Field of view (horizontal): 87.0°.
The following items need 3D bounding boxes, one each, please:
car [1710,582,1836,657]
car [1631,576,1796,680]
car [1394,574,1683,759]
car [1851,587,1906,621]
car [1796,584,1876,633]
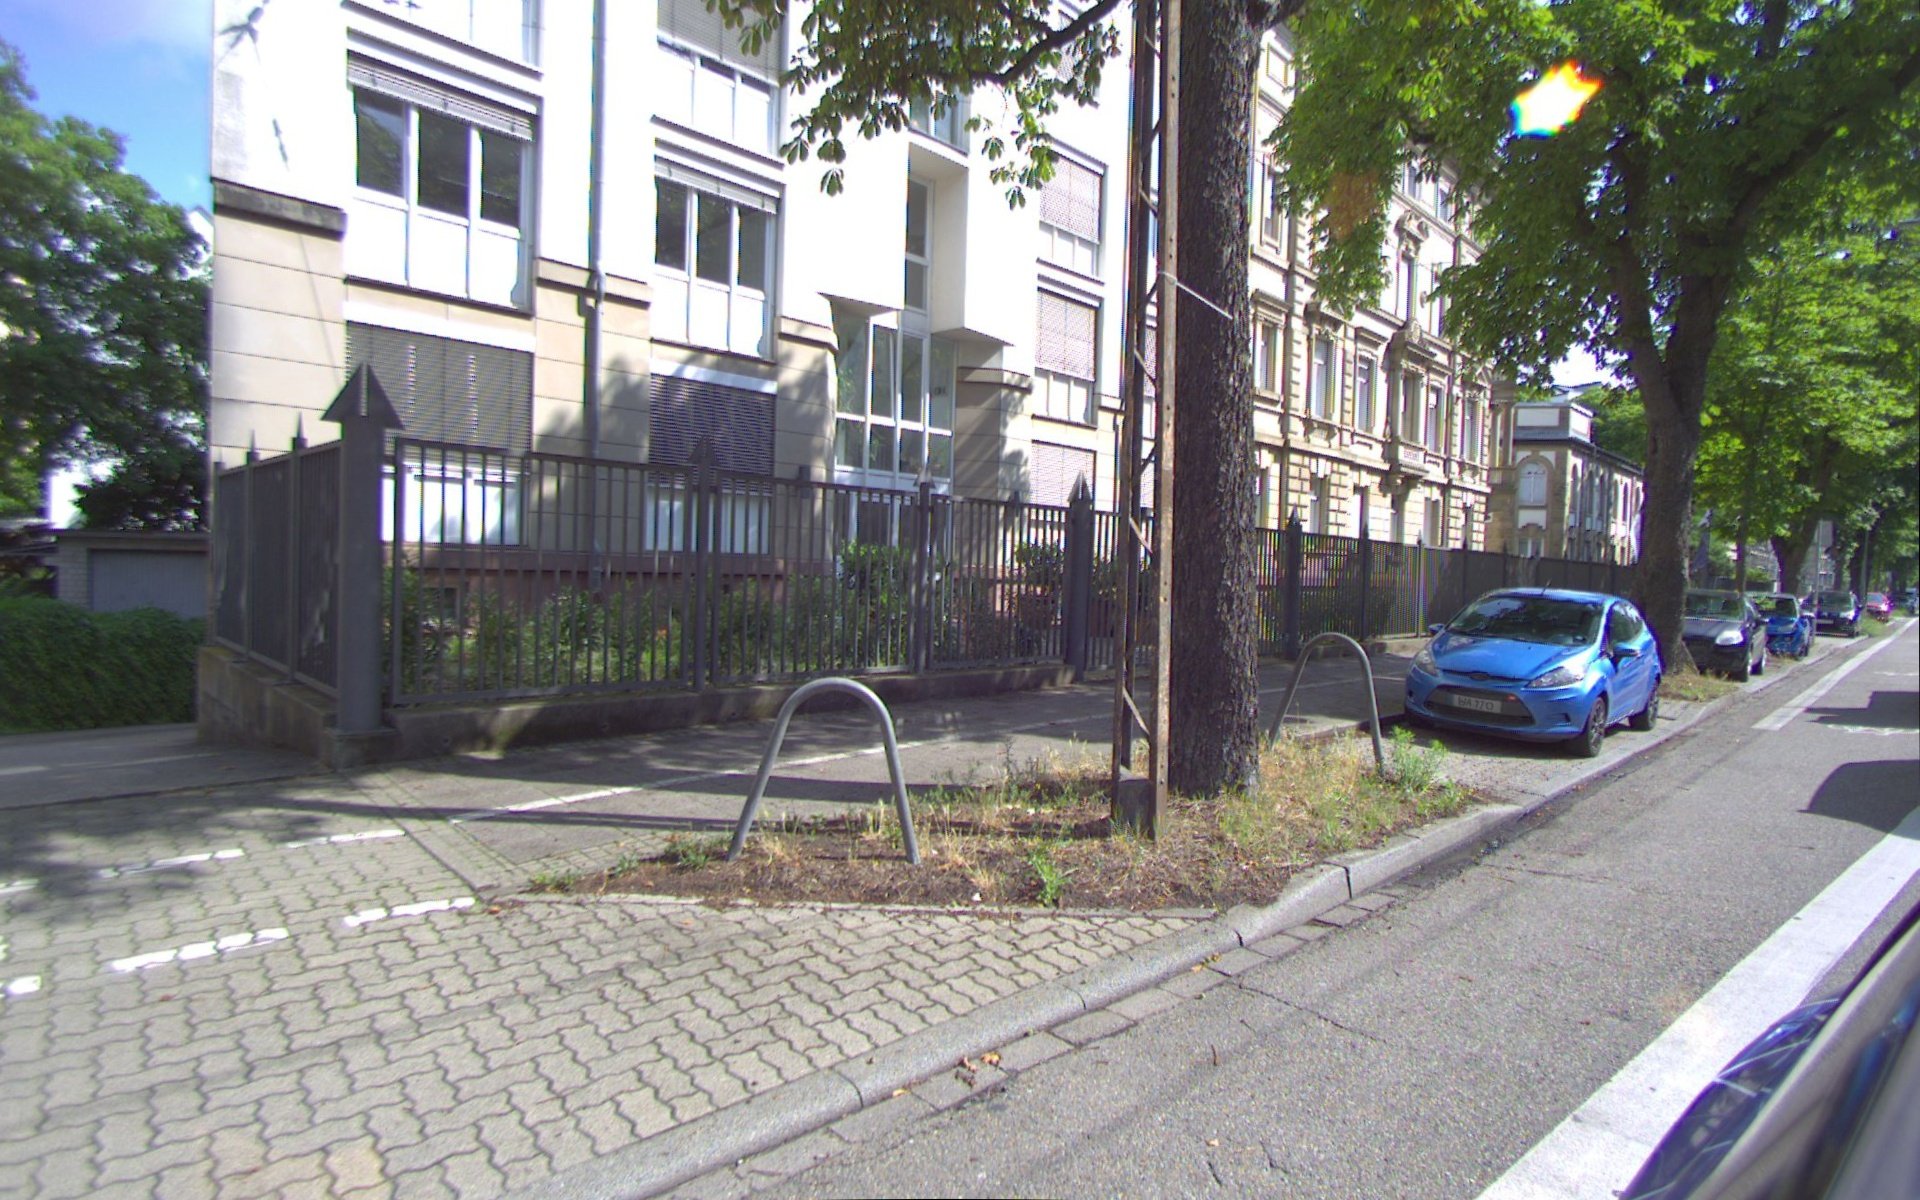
[{"bbox_3d":[18.792,0.387,23.338,3.861,1.469,1.722,0,5,-44],"label":"car"},{"bbox_3d":[13.184,0.418,17.634,3.562,1.526,1.643,0,5,-44],"label":"car"},{"bbox_3d":[6.054,0.536,10.421,1.639,1.472,3.639,6,4,44],"label":"car"},{"bbox_3d":[47.709,0.190,52.565,4.131,1.591,1.772,0,5,-44],"label":"car"},{"bbox_3d":[31.774,0.273,36.679,4.131,1.549,1.772,0,5,-44],"label":"car"}]
